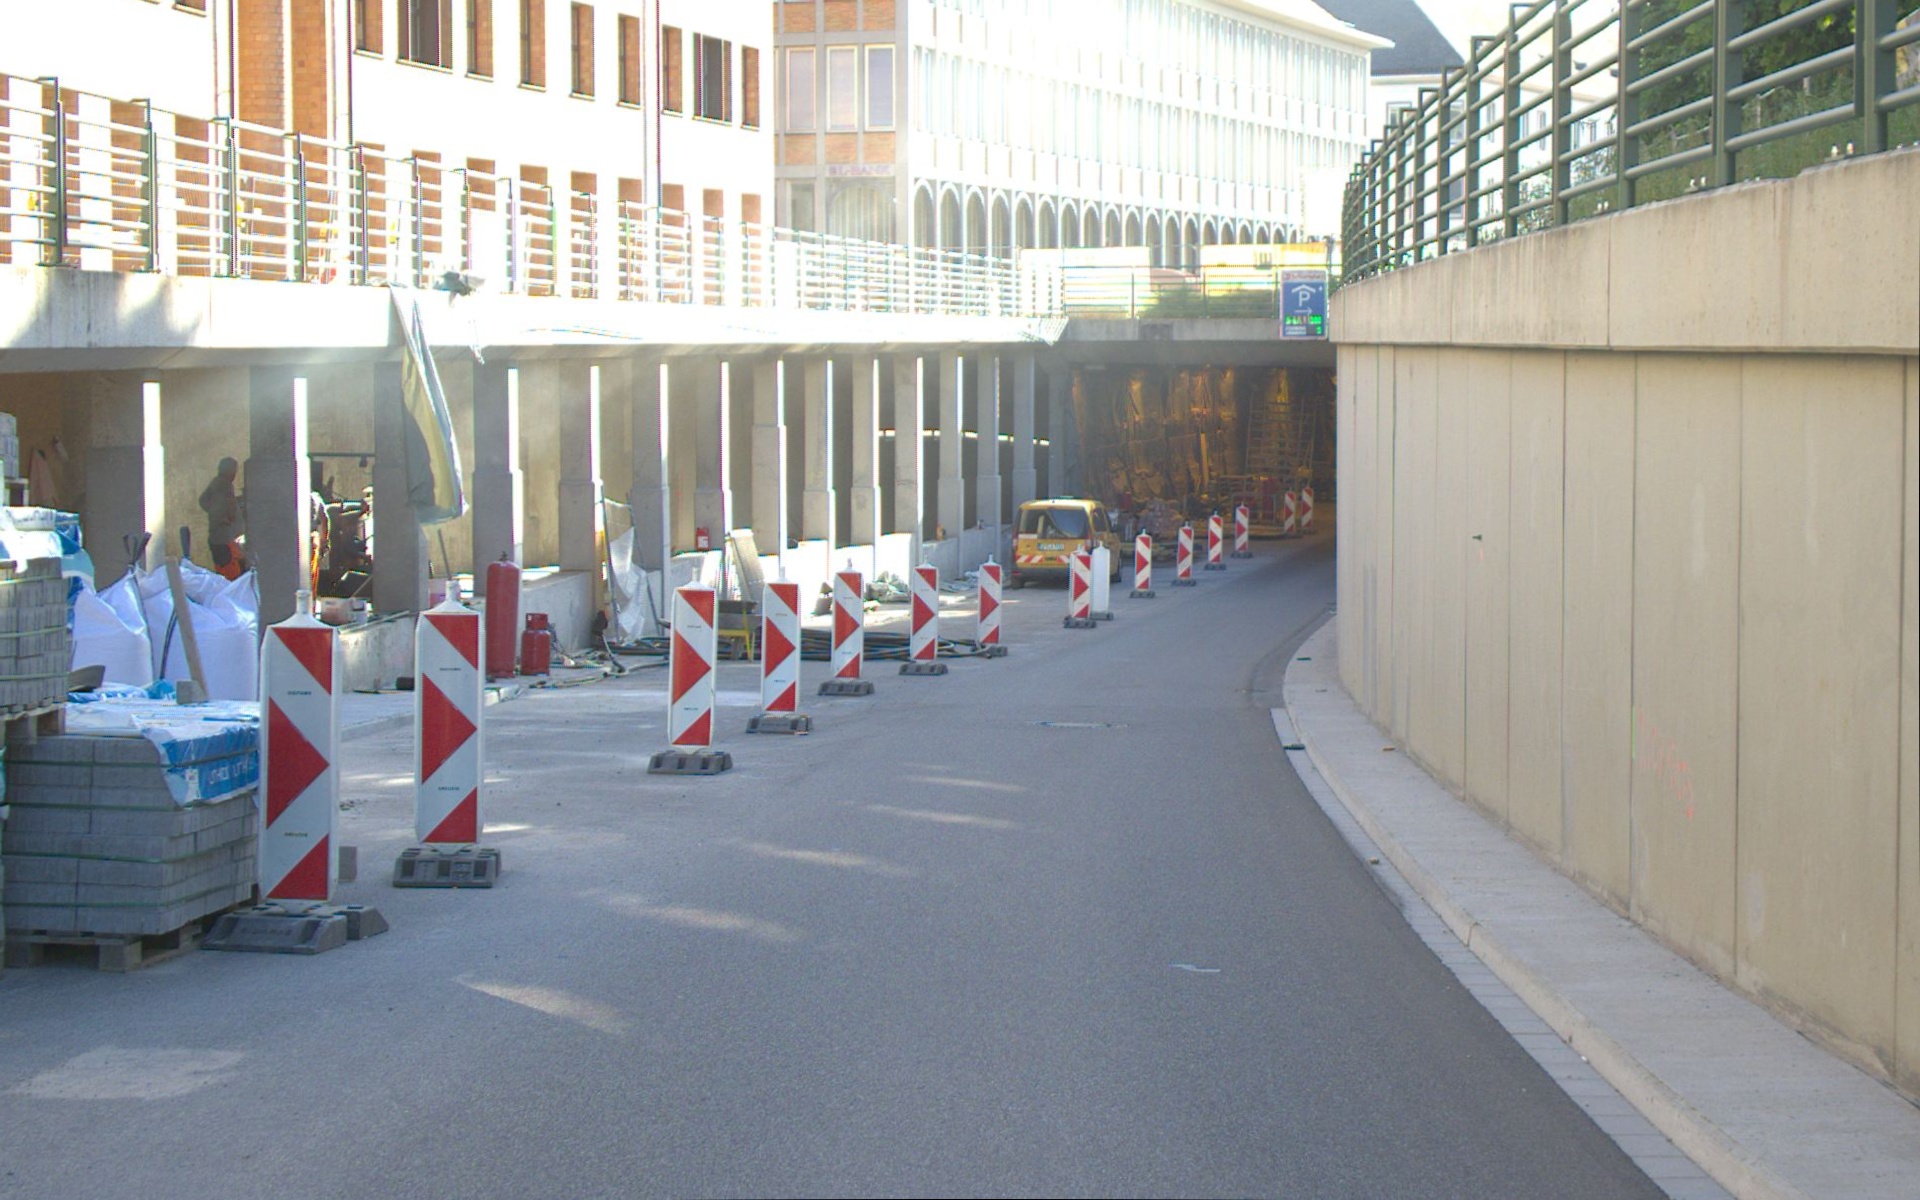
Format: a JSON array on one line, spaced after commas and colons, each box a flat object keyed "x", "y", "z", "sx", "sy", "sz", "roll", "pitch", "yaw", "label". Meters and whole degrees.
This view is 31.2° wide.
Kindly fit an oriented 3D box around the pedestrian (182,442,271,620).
[{"x": -7.619, "y": -0.723, "z": 35.731, "sx": 0.704, "sy": 1.808, "sz": 0.710, "roll": 2, "pitch": 1, "yaw": 3, "label": "pedestrian"}]

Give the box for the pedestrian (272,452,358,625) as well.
[{"x": -6.829, "y": -0.653, "z": 36.405, "sx": 0.657, "sy": 1.798, "sz": 0.624, "roll": 2, "pitch": 1, "yaw": 13, "label": "pedestrian"}]

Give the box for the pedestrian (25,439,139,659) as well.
[{"x": -7.985, "y": -0.471, "z": 31.295, "sx": 0.677, "sy": 1.950, "sz": 0.936, "roll": 2, "pitch": 1, "yaw": 5, "label": "pedestrian"}]

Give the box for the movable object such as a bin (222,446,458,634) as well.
[{"x": -6.888, "y": -0.691, "z": 38.471, "sx": 1.885, "sy": 1.980, "sz": 3.159, "roll": 1, "pitch": 2, "yaw": 3, "label": "movable object such as a bin"}]

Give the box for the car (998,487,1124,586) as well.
[{"x": 2.086, "y": -1.324, "z": 69.880, "sx": 1.849, "sy": 1.769, "sz": 4.433, "roll": 1, "pitch": 4, "yaw": 11, "label": "car"}]
